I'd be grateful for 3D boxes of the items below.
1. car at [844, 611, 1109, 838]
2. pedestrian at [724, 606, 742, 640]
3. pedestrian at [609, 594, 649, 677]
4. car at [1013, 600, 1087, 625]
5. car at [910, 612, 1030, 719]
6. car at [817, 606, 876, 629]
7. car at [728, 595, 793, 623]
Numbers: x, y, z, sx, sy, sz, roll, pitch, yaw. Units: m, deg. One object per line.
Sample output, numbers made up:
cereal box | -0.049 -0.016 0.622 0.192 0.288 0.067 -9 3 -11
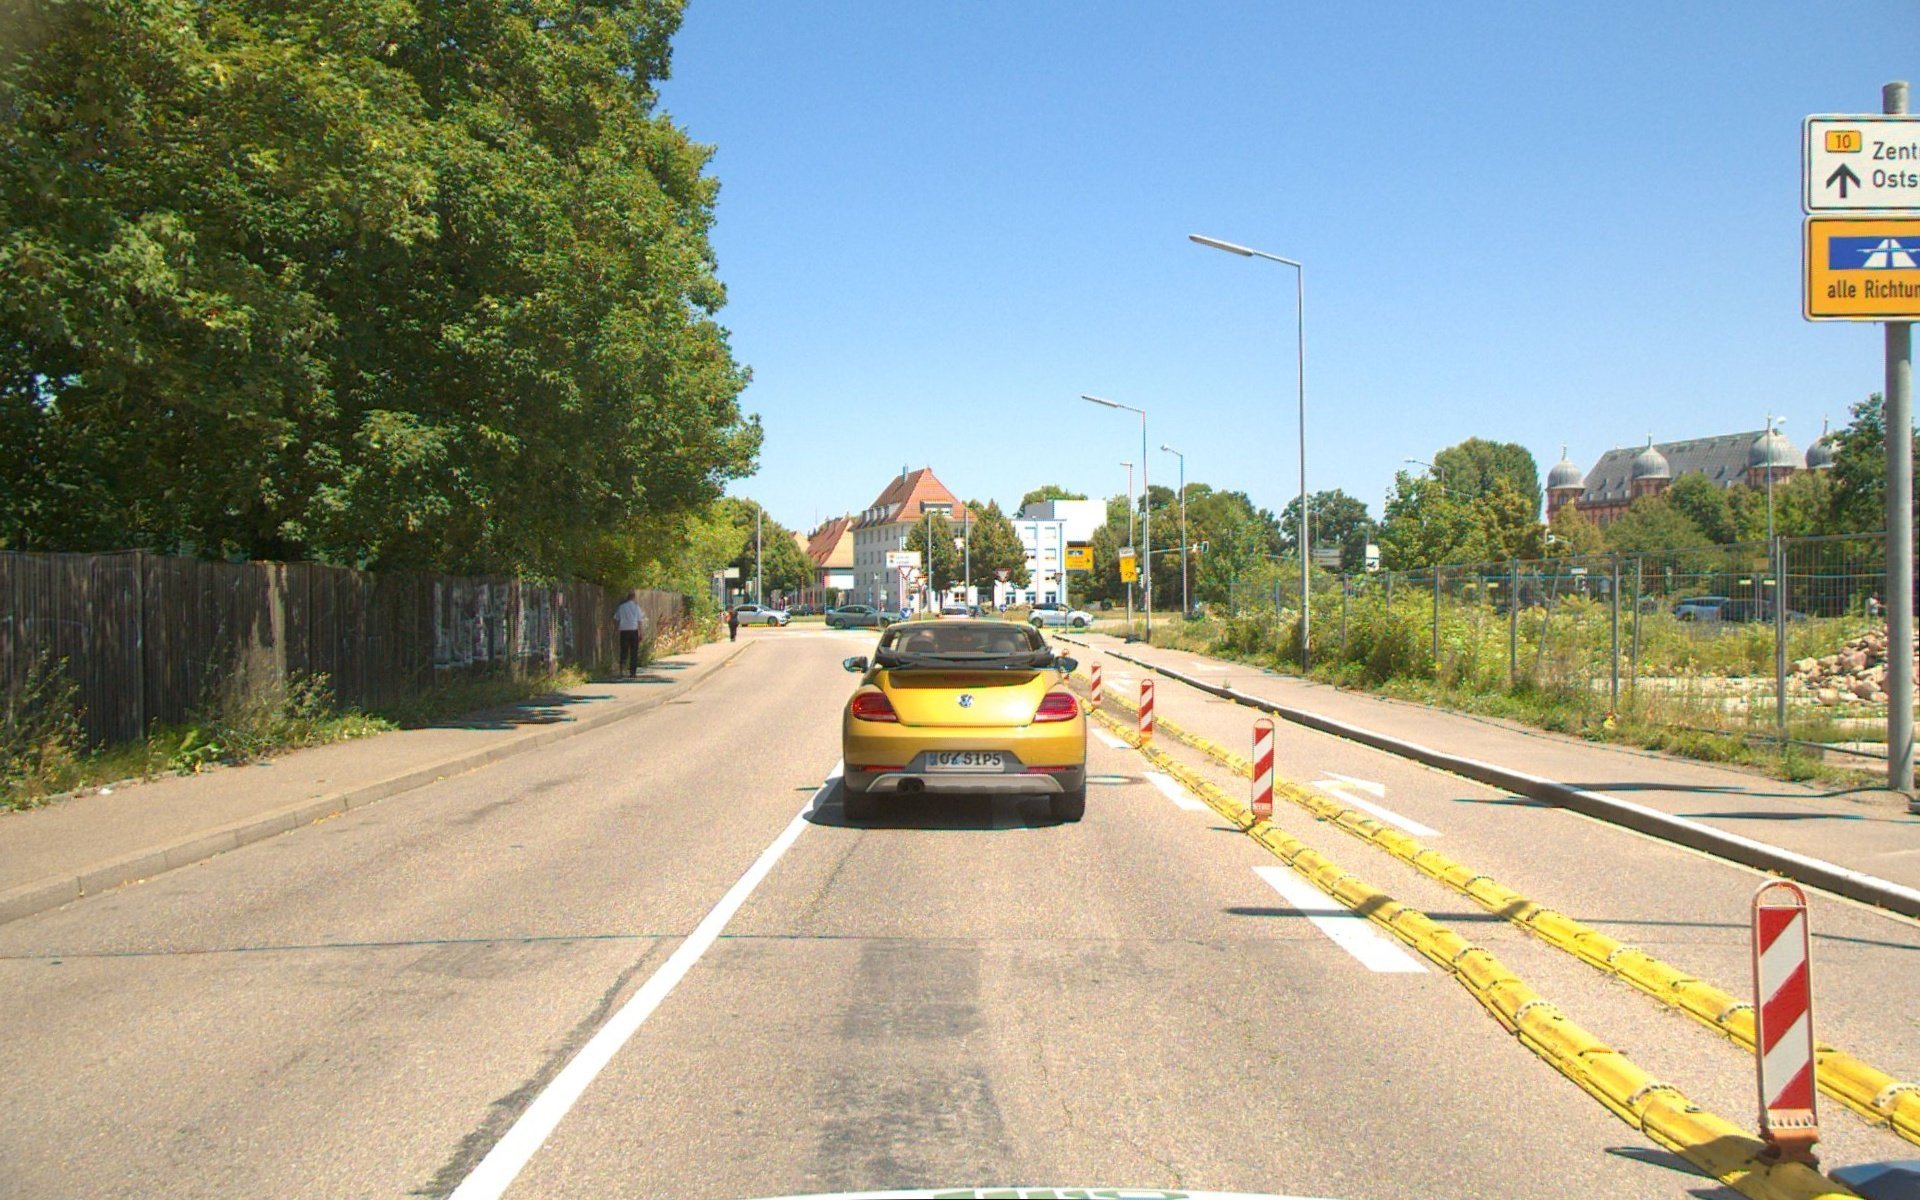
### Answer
car | 0.052 0.850 13.054 1.754 1.462 3.812 -1 0 -2
pedestrian | -10.053 1.020 73.360 0.708 1.479 0.817 -1 0 -5
pedestrian | -7.122 0.749 35.633 0.708 1.755 0.817 -1 0 -5
car | 5.435 0.765 99.923 4.346 1.381 1.538 -1 0 7
car | 0.144 0.958 25.787 1.691 1.468 4.000 -1 0 0
car | -6.931 1.068 101.046 3.364 1.298 1.407 -1 0 8
car | -13.360 0.595 110.916 3.986 1.774 1.568 -1 0 8
